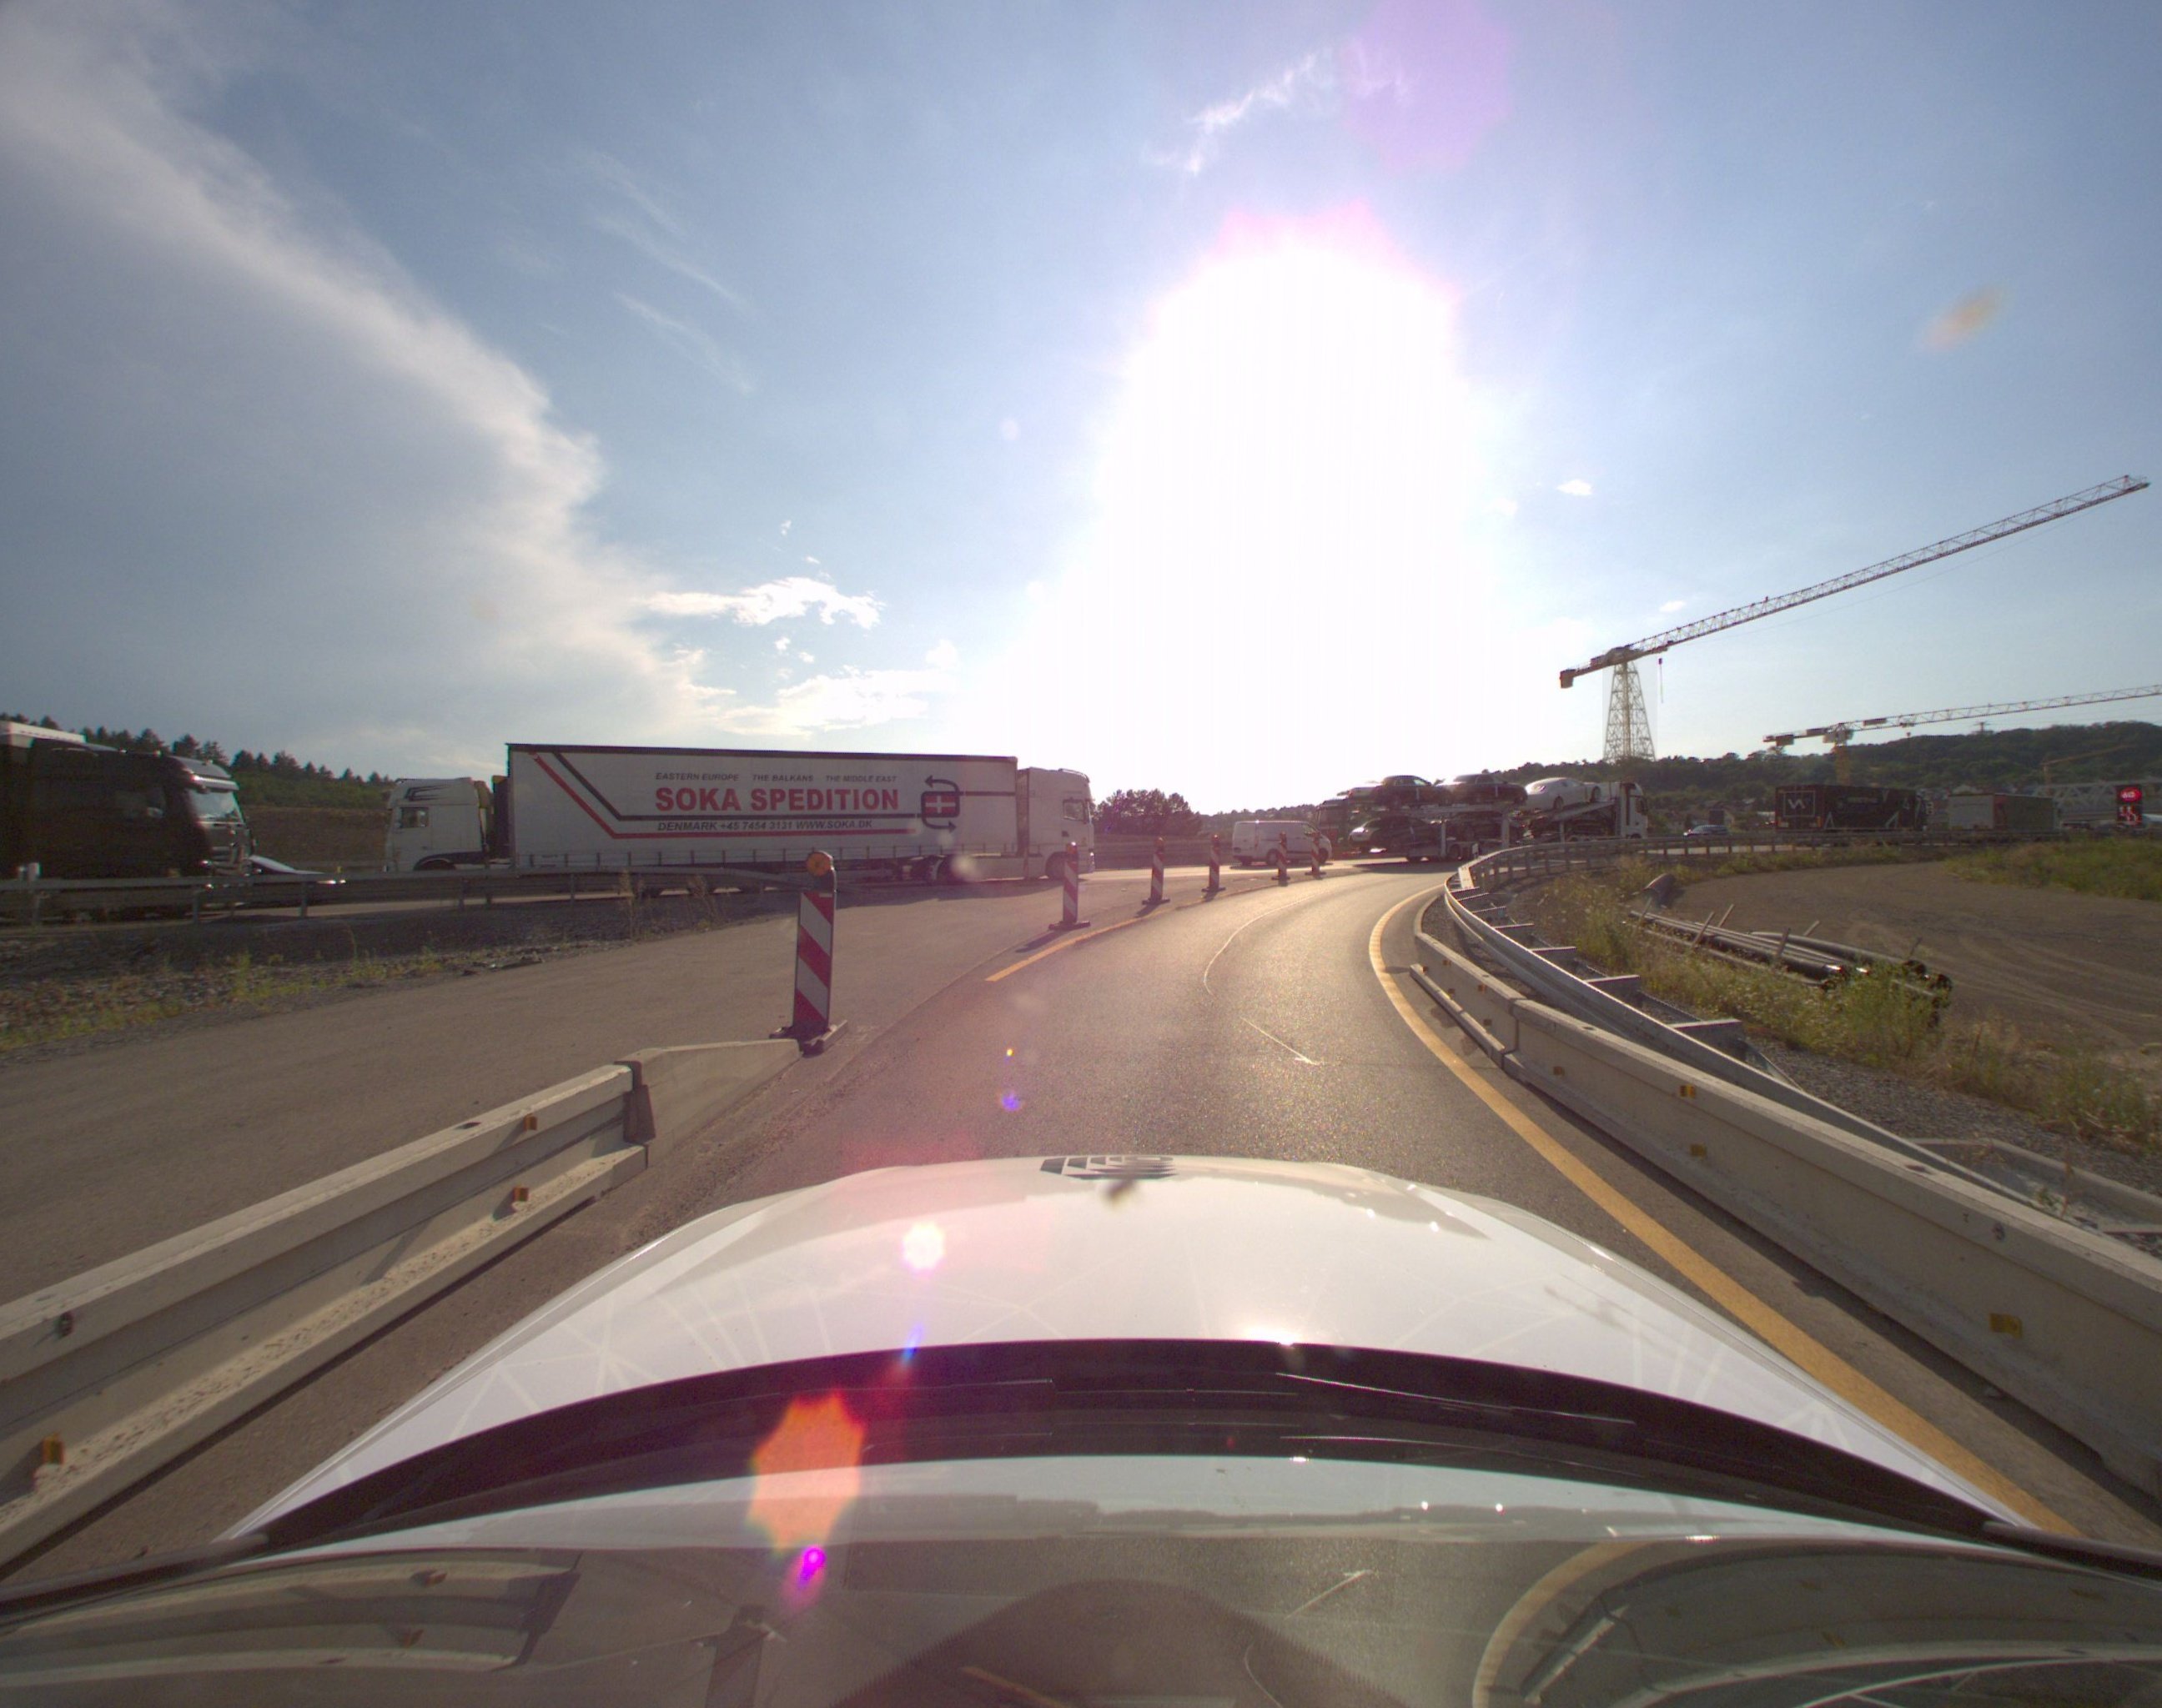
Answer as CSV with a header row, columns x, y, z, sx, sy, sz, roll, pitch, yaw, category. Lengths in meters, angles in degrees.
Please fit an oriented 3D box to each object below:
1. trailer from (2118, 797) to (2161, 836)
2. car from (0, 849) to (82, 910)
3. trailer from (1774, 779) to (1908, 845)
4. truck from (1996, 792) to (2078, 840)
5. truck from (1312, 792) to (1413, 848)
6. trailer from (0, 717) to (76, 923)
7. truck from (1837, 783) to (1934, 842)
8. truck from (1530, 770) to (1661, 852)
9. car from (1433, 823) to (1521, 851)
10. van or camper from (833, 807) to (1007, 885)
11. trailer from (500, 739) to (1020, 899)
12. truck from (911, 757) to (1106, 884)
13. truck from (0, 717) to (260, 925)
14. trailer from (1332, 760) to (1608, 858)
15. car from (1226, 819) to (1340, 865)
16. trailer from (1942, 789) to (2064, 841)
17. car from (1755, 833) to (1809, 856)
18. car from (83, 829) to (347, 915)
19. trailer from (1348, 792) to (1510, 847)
x,y,z,sx,sy,sz,roll,pitch,yaw,category
119.457,-4.058,89.976,14.779,3.996,3.365,-1,0,-28,trailer
-29.819,0.705,20.787,4.990,1.500,2.018,-2,2,-27,car
51.532,-2.749,55.100,10.815,4.092,2.943,-1,-1,-27,trailer
85.188,-3.334,72.588,6.640,3.996,3.324,-1,0,-28,truck
16.841,-2.021,48.689,5.693,3.134,2.131,-1,-1,-22,truck
-27.790,-0.564,13.828,13.657,4.061,2.467,-1,0,-26,trailer
57.296,-2.895,57.980,6.637,3.996,2.869,-1,0,-26,truck
27.055,-2.159,42.751,6.640,3.996,2.832,-1,0,-28,truck
23.060,-1.004,47.412,4.990,1.500,2.018,-2,2,-27,car
-5.808,-0.330,29.639,5.917,2.620,1.982,-1,0,-27,van or camper
-8.597,-0.949,24.060,13.664,3.878,2.466,-1,0,-28,trailer
-2.400,-1.063,27.379,6.026,3.878,2.466,-1,0,-28,truck
-21.707,-0.634,16.901,6.025,4.060,2.466,-1,0,-27,truck
18.731,-1.980,38.345,15.783,3.996,2.841,-1,0,-28,trailer
9.282,-0.601,37.300,4.990,1.980,2.018,-2,2,-27,car
78.002,-3.203,68.785,14.779,3.996,3.365,-1,0,-28,trailer
52.347,-0.724,60.804,4.011,1.654,1.818,-1,-1,-30,car
-21.867,0.406,20.812,4.342,2.014,1.512,-1,-1,-28,car
21.811,-2.163,50.768,10.991,3.134,2.131,-1,-1,-23,trailer
